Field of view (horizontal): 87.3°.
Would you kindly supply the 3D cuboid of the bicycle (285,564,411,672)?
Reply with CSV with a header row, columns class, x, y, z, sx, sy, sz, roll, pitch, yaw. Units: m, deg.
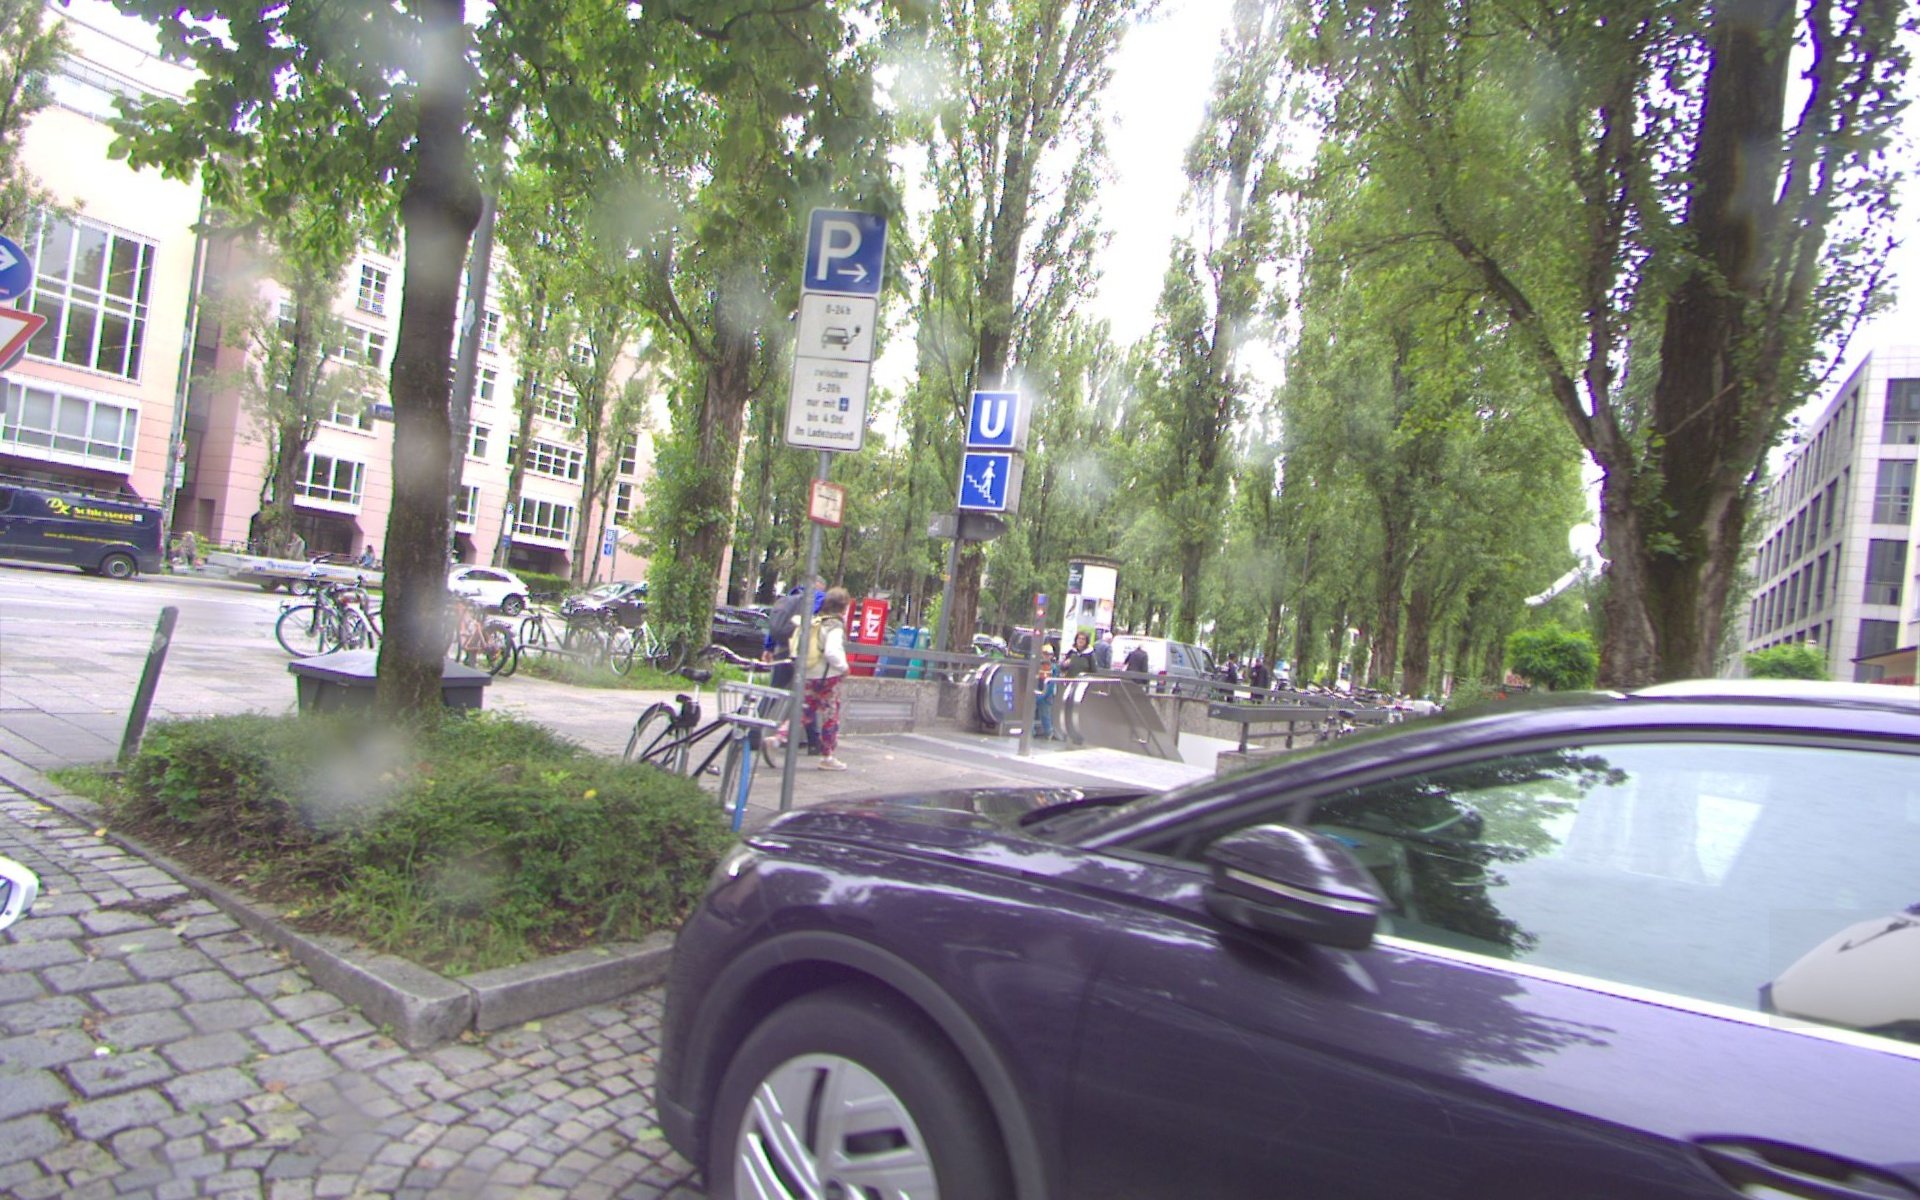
class,x,y,z,sx,sy,sz,roll,pitch,yaw
bicycle,-7.434,0.202,12.186,1.846,1.063,0.475,7,-1,34

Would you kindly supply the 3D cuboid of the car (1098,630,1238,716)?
class,x,y,z,sx,sy,sz,roll,pitch,yaw
car,5.906,2.110,28.021,1.786,1.918,5.193,7,-2,34

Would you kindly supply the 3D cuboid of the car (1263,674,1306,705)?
class,x,y,z,sx,sy,sz,roll,pitch,yaw
car,21.414,5.927,66.241,1.719,1.662,3.947,8,-1,31

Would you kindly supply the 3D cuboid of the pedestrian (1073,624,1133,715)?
class,x,y,z,sx,sy,sz,roll,pitch,yaw
pedestrian,3.051,1.487,21.433,0.739,1.824,0.841,7,-1,37

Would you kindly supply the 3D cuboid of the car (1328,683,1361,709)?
class,x,y,z,sx,sy,sz,roll,pitch,yaw
car,31.788,7.954,83.090,1.719,1.808,3.947,8,-1,31

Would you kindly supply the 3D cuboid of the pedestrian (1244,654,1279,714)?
class,x,y,z,sx,sy,sz,roll,pitch,yaw
pedestrian,9.768,2.731,32.623,0.689,1.862,0.705,7,-1,35

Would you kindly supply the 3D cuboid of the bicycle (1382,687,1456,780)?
class,x,y,z,sx,sy,sz,roll,pitch,yaw
bicycle,6.553,1.883,14.301,0.578,1.173,1.866,7,-2,33

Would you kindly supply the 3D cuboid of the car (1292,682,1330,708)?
class,x,y,z,sx,sy,sz,roll,pitch,yaw
car,25.520,6.914,73.107,1.719,1.564,3.947,8,-1,31

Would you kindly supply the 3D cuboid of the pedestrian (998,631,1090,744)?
class,x,y,z,sx,sy,sz,roll,pitch,yaw
pedestrian,1.169,1.222,14.011,0.766,1.436,0.809,7,-1,-42

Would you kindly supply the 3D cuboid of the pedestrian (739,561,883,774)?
class,x,y,z,sx,sy,sz,roll,pitch,yaw
pedestrian,-1.267,0.581,8.630,0.602,1.700,0.842,7,-1,42

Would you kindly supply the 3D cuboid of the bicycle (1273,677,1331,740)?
class,x,y,z,sx,sy,sz,roll,pitch,yaw
bicycle,7.106,2.262,20.834,0.578,1.173,1.866,7,-2,33

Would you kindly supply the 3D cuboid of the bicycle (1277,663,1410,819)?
class,x,y,z,sx,sy,sz,roll,pitch,yaw
bicycle,3.780,1.349,9.820,0.710,1.291,1.866,7,-2,33

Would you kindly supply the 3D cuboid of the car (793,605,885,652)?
class,x,y,z,sx,sy,sz,roll,pitch,yaw
car,-6.095,1.498,51.341,1.967,1.818,4.755,7,-2,32

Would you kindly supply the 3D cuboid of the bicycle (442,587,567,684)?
class,x,y,z,sx,sy,sz,roll,pitch,yaw
bicycle,-5.916,0.441,13.027,1.847,1.063,0.475,5,-2,34

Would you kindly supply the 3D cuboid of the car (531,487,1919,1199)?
class,x,y,z,sx,sy,sz,roll,pitch,yaw
car,1.353,0.898,2.109,4.131,1.719,1.925,7,-2,30

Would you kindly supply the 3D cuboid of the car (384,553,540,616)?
class,x,y,z,sx,sy,sz,roll,pitch,yaw
car,-16.524,-0.483,33.576,1.778,1.559,4.225,5,-2,34

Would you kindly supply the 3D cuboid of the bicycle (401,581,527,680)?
class,x,y,z,sx,sy,sz,roll,pitch,yaw
bicycle,-6.274,0.368,12.690,1.847,1.063,0.475,5,-2,34

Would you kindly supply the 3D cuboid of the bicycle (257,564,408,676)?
class,x,y,z,sx,sy,sz,roll,pitch,yaw
bicycle,-7.136,0.215,11.415,1.844,1.063,0.475,6,-1,27

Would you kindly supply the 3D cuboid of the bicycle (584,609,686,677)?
class,x,y,z,sx,sy,sz,roll,pitch,yaw
bicycle,-4.975,0.639,15.352,1.806,0.827,0.470,5,-2,38

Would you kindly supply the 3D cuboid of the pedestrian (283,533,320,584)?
class,x,y,z,sx,sy,sz,roll,pitch,yaw
pedestrian,-24.103,-1.528,36.830,0.698,1.733,0.730,7,-1,33

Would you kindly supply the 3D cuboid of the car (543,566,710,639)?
class,x,y,z,sx,sy,sz,roll,pitch,yaw
car,-10.594,0.137,32.330,1.968,1.741,4.807,5,-3,33

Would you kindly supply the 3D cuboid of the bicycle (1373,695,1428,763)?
class,x,y,z,sx,sy,sz,roll,pitch,yaw
bicycle,8.529,2.487,19.439,0.578,1.173,1.866,7,-2,33

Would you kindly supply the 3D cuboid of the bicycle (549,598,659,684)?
class,x,y,z,sx,sy,sz,roll,pitch,yaw
bicycle,-5.214,0.584,14.662,1.806,1.050,0.512,5,-2,38

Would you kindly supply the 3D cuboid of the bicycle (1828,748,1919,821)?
class,x,y,z,sx,sy,sz,roll,pitch,yaw
bicycle,18.438,3.656,19.550,2.209,1.169,0.647,7,-1,32

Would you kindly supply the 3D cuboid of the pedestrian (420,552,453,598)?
class,x,y,z,sx,sy,sz,roll,pitch,yaw
pedestrian,-21.088,-0.997,40.524,0.698,1.733,0.730,7,-1,33

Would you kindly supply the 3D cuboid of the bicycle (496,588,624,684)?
class,x,y,z,sx,sy,sz,roll,pitch,yaw
bicycle,-5.566,0.487,13.953,1.899,1.118,0.512,6,-1,32

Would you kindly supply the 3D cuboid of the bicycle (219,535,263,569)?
class,x,y,z,sx,sy,sz,roll,pitch,yaw
bicycle,-28.588,-1.928,40.013,1.957,1.138,0.675,7,-1,33

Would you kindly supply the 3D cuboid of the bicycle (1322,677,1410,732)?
class,x,y,z,sx,sy,sz,roll,pitch,yaw
bicycle,10.894,2.789,27.038,2.000,1.173,0.586,6,-1,35

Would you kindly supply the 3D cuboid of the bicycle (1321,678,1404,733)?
class,x,y,z,sx,sy,sz,roll,pitch,yaw
bicycle,10.552,2.760,26.412,1.840,1.173,0.586,6,-1,35

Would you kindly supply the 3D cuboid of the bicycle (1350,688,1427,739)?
class,x,y,z,sx,sy,sz,roll,pitch,yaw
bicycle,12.343,3.255,29.008,1.839,1.173,0.586,7,-1,35

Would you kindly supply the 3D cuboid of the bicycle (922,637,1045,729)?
class,x,y,z,sx,sy,sz,roll,pitch,yaw
bicycle,0.378,1.232,14.721,0.580,1.173,1.860,6,-2,44

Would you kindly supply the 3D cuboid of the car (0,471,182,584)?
class,x,y,z,sx,sy,sz,roll,pitch,yaw
car,-22.650,-1.880,24.390,1.990,2.222,5.488,7,-2,32

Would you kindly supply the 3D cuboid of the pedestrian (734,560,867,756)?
class,x,y,z,sx,sy,sz,roll,pitch,yaw
pedestrian,-1.495,0.547,9.445,0.655,1.716,0.802,7,-1,42

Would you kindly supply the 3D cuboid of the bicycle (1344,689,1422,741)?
class,x,y,z,sx,sy,sz,roll,pitch,yaw
bicycle,11.970,3.246,28.482,1.840,1.173,0.586,6,-1,35

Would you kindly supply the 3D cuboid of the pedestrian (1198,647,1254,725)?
class,x,y,z,sx,sy,sz,roll,pitch,yaw
pedestrian,6.974,2.249,26.384,0.905,1.888,1.011,7,-1,37

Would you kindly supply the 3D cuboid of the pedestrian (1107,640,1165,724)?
class,x,y,z,sx,sy,sz,roll,pitch,yaw
pedestrian,3.666,1.714,20.934,0.688,1.625,0.831,7,-1,37

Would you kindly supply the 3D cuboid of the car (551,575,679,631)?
class,x,y,z,sx,sy,sz,roll,pitch,yaw
car,-13.237,0.149,38.863,1.966,1.559,4.320,7,-2,30

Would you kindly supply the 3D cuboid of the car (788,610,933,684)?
class,x,y,z,sx,sy,sz,roll,pitch,yaw
car,-2.648,1.340,27.552,1.720,1.544,3.901,8,-1,33

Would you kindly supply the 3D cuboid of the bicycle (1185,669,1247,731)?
class,x,y,z,sx,sy,sz,roll,pitch,yaw
bicycle,5.442,2.132,21.303,0.578,1.173,1.866,7,-2,33

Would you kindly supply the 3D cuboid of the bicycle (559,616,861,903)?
class,x,y,z,sx,sy,sz,roll,pitch,yaw
bicycle,-1.400,0.765,5.378,1.850,1.150,0.474,6,-1,41

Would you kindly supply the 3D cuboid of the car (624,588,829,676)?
class,x,y,z,sx,sy,sz,roll,pitch,yaw
car,-5.261,0.801,23.230,1.729,1.444,4.438,8,-1,36

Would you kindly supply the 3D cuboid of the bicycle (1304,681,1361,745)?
class,x,y,z,sx,sy,sz,roll,pitch,yaw
bicycle,7.619,2.306,20.505,0.578,1.173,1.866,7,-2,33

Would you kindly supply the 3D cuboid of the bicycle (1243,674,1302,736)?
class,x,y,z,sx,sy,sz,roll,pitch,yaw
bicycle,6.602,2.218,21.192,0.578,1.173,1.866,7,-2,33

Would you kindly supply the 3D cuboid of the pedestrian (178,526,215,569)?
class,x,y,z,sx,sy,sz,roll,pitch,yaw
pedestrian,-27.084,-1.855,35.692,0.698,1.385,0.730,7,-1,33

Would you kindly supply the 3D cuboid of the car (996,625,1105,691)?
class,x,y,z,sx,sy,sz,roll,pitch,yaw
car,3.482,2.235,37.631,1.885,1.946,5.034,8,-1,31

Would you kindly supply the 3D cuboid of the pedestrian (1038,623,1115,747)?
class,x,y,z,sx,sy,sz,roll,pitch,yaw
pedestrian,1.726,1.257,14.881,0.686,1.721,0.656,8,-1,-42

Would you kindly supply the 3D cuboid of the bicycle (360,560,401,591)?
class,x,y,z,sx,sy,sz,roll,pitch,yaw
bicycle,-25.623,-1.076,44.467,1.957,1.138,0.675,7,-1,33

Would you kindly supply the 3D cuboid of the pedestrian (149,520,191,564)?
class,x,y,z,sx,sy,sz,roll,pitch,yaw
pedestrian,-27.515,-2.004,35.036,0.718,1.385,0.710,7,-1,3

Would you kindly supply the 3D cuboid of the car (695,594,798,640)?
class,x,y,z,sx,sy,sz,roll,pitch,yaw
car,-9.580,0.797,45.420,1.968,1.559,4.317,7,-2,33

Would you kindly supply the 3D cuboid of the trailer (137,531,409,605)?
class,x,y,z,sx,sy,sz,roll,pitch,yaw
trailer,-19.705,-0.849,29.234,2.366,1.213,6.028,7,-2,33

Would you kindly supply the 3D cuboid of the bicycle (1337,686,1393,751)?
class,x,y,z,sx,sy,sz,roll,pitch,yaw
bicycle,8.130,2.372,20.160,0.578,1.173,1.866,7,-2,33

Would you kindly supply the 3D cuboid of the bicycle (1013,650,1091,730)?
class,x,y,z,sx,sy,sz,roll,pitch,yaw
bicycle,1.541,1.484,16.536,0.577,1.173,1.870,7,-2,24

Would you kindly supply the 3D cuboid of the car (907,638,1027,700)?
class,x,y,z,sx,sy,sz,roll,pitch,yaw
car,0.297,2.245,32.091,1.719,1.544,4.229,8,-1,32

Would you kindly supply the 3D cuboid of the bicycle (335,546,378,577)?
class,x,y,z,sx,sy,sz,roll,pitch,yaw
bicycle,-26.201,-1.673,43.670,2.073,1.138,0.675,7,-1,33
